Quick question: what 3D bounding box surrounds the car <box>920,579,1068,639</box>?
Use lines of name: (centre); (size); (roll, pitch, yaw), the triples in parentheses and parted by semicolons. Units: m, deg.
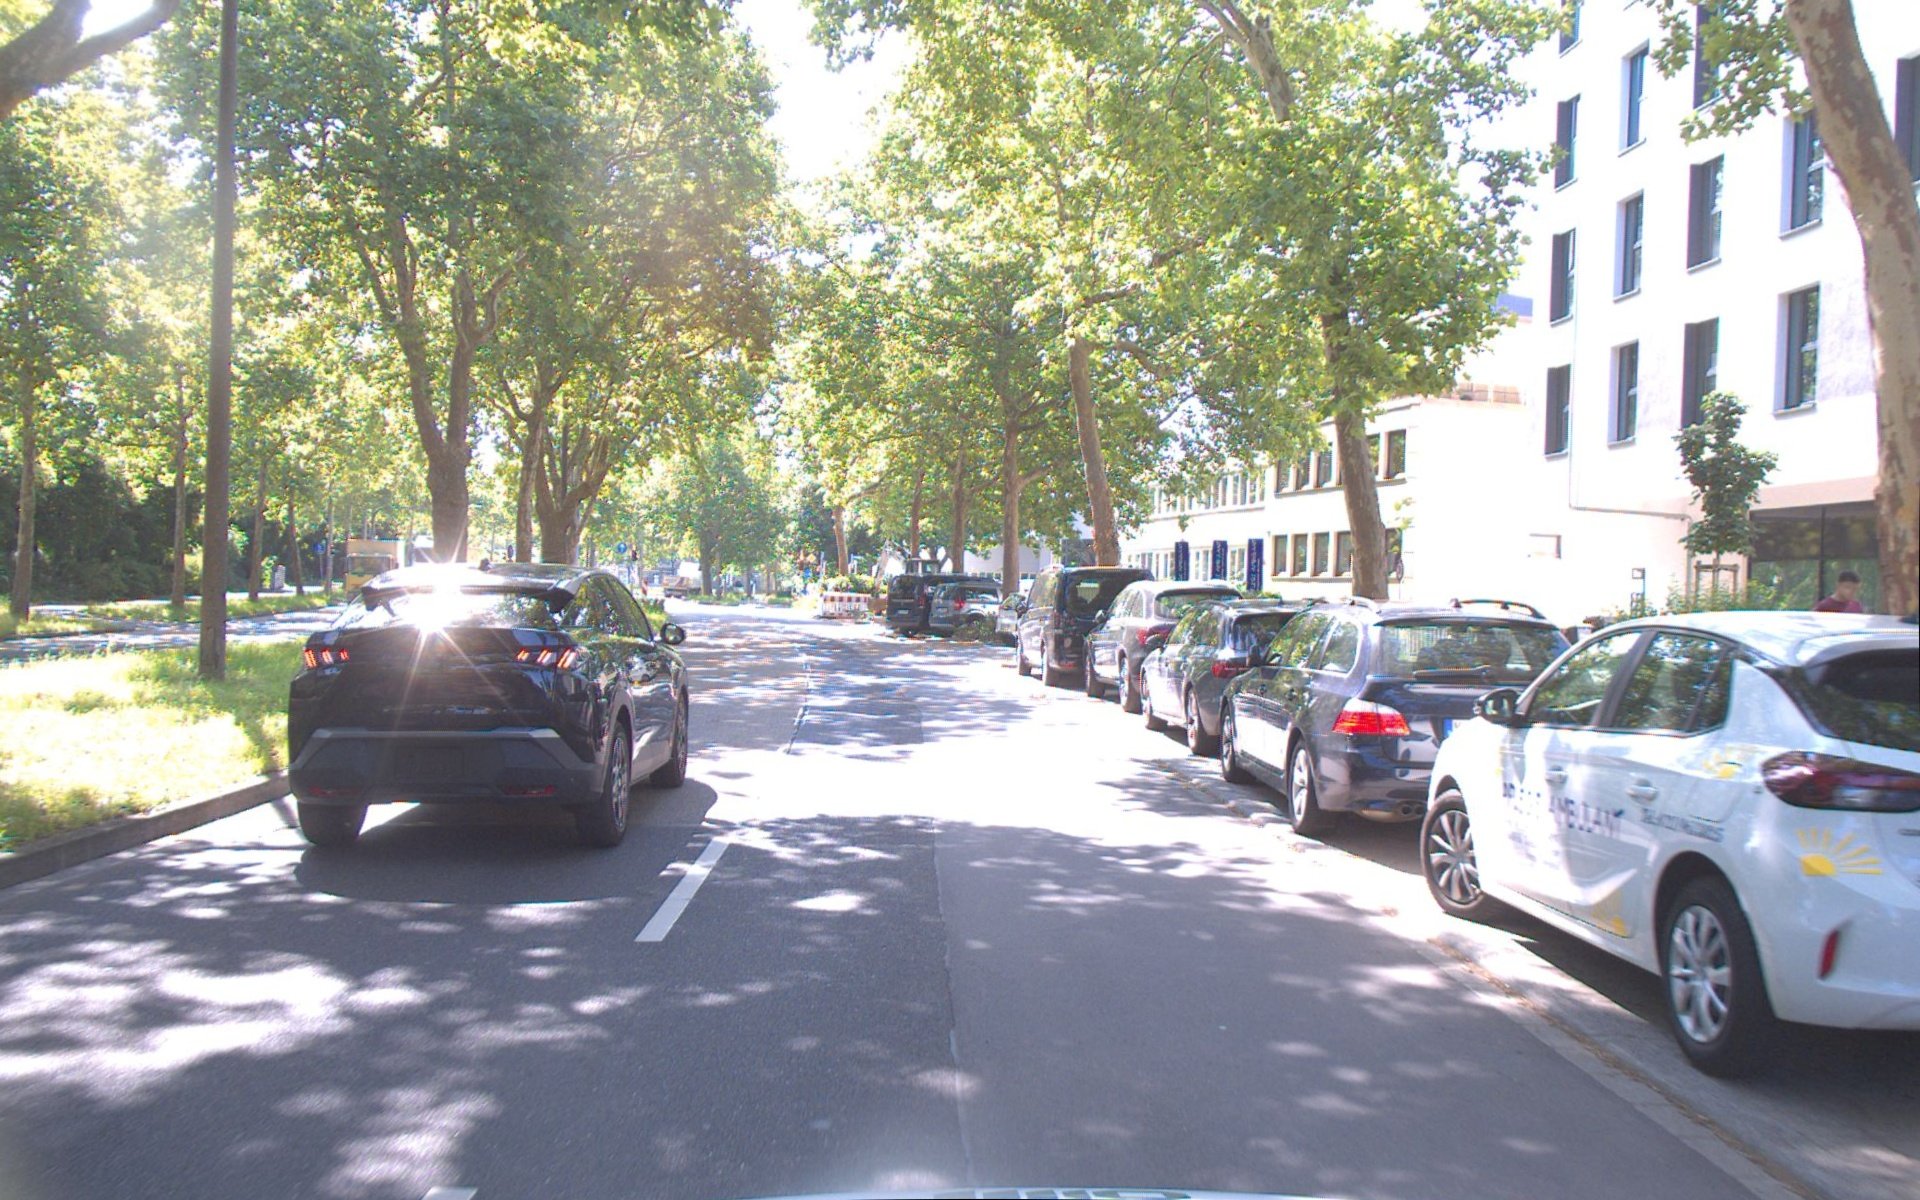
car: (1.014, 0.274, 49.133); (4.042, 1.662, 1.701); (1, 0, -22)

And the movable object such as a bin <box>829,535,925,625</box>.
movable object such as a bin: (-3.181, -0.745, 63.161); (2.304, 3.297, 3.395); (1, 0, -31)

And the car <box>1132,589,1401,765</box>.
car: (2.954, 0.671, 16.908); (1.673, 1.513, 4.482); (1, 0, -3)

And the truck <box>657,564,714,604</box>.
truck: (-27.066, -1.547, 163.336); (5.421, 3.742, 1.997); (2, 0, -7)

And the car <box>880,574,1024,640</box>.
car: (-0.251, 0.221, 50.981); (4.044, 1.912, 1.772); (1, 0, -23)

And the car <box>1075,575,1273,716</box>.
car: (2.799, 0.542, 22.620); (1.674, 1.698, 4.528); (1, 0, -6)

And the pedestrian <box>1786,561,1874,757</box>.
pedestrian: (8.406, 0.558, 15.996); (0.466, 1.839, 0.637); (1, 0, -2)

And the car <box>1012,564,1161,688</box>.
car: (2.035, 0.388, 27.911); (1.674, 1.874, 4.720); (1, 0, -6)

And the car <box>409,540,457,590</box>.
car: (-39.106, -2.618, 122.911); (2.407, 3.509, 7.079); (3, 1, -11)

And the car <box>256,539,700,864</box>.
car: (-2.913, 0.526, 11.045); (1.834, 1.726, 4.433); (0, 0, -3)

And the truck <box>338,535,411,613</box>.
truck: (-28.493, -1.294, 80.691); (2.409, 3.509, 7.075); (3, 1, -13)

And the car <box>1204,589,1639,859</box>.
car: (2.947, 0.684, 11.641); (1.672, 1.480, 4.655); (1, 0, -1)

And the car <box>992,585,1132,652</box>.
car: (2.718, 0.488, 44.582); (3.486, 1.668, 1.656); (2, 0, -9)

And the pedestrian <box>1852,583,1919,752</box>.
pedestrian: (9.142, 0.648, 16.066); (0.601, 1.609, 0.570); (1, 0, -2)

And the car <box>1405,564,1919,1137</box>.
car: (3.162, 0.669, 6.446); (1.672, 1.513, 4.100); (1, 0, -1)
